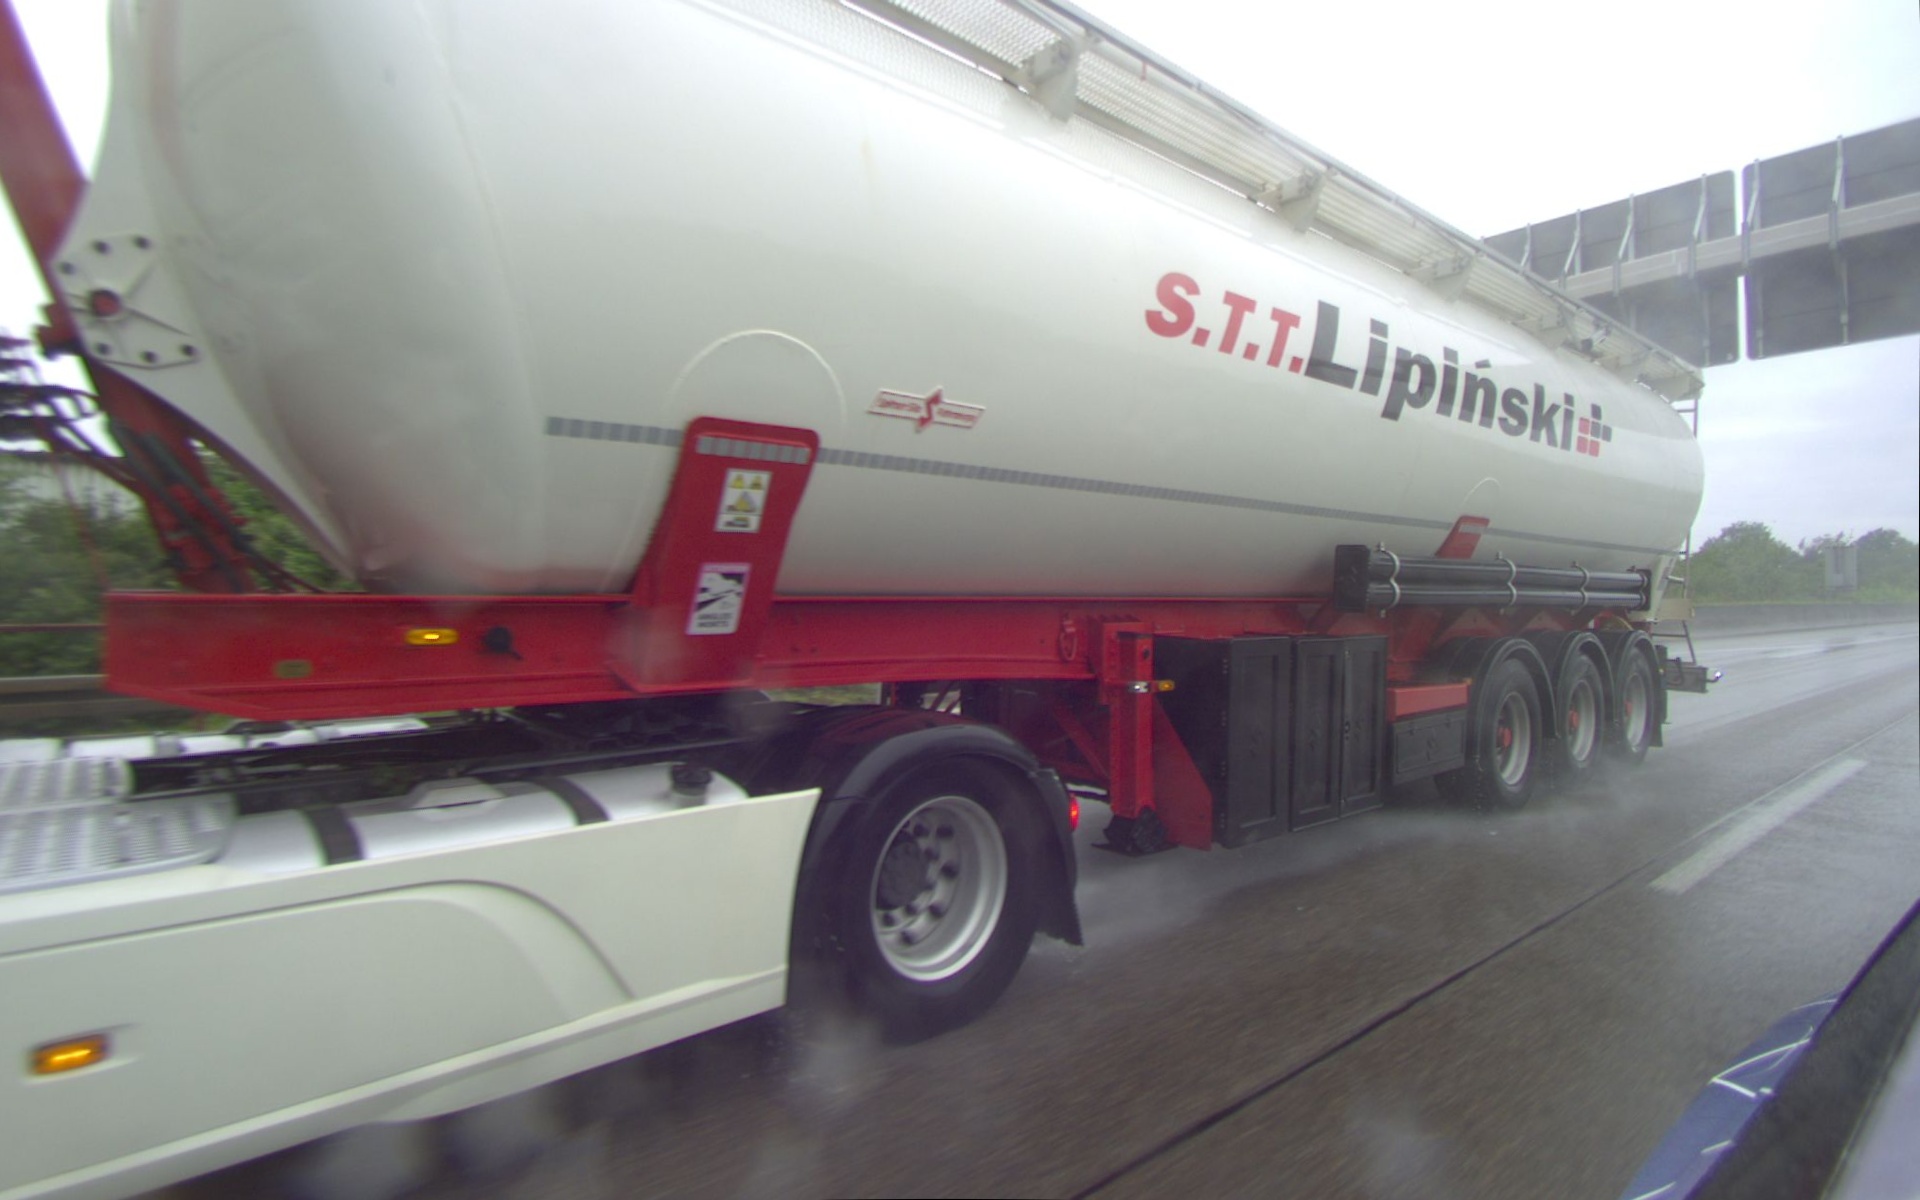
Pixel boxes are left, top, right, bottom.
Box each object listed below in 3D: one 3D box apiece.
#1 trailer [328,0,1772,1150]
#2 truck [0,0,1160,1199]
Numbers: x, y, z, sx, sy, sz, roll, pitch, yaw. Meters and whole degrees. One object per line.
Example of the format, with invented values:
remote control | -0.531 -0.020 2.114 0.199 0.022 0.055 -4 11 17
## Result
trailer | 2.456 -0.660 7.218 11.462 3.716 3.194 0 1 -41
truck | -2.949 -0.696 2.427 7.088 3.854 3.109 0 1 -42
